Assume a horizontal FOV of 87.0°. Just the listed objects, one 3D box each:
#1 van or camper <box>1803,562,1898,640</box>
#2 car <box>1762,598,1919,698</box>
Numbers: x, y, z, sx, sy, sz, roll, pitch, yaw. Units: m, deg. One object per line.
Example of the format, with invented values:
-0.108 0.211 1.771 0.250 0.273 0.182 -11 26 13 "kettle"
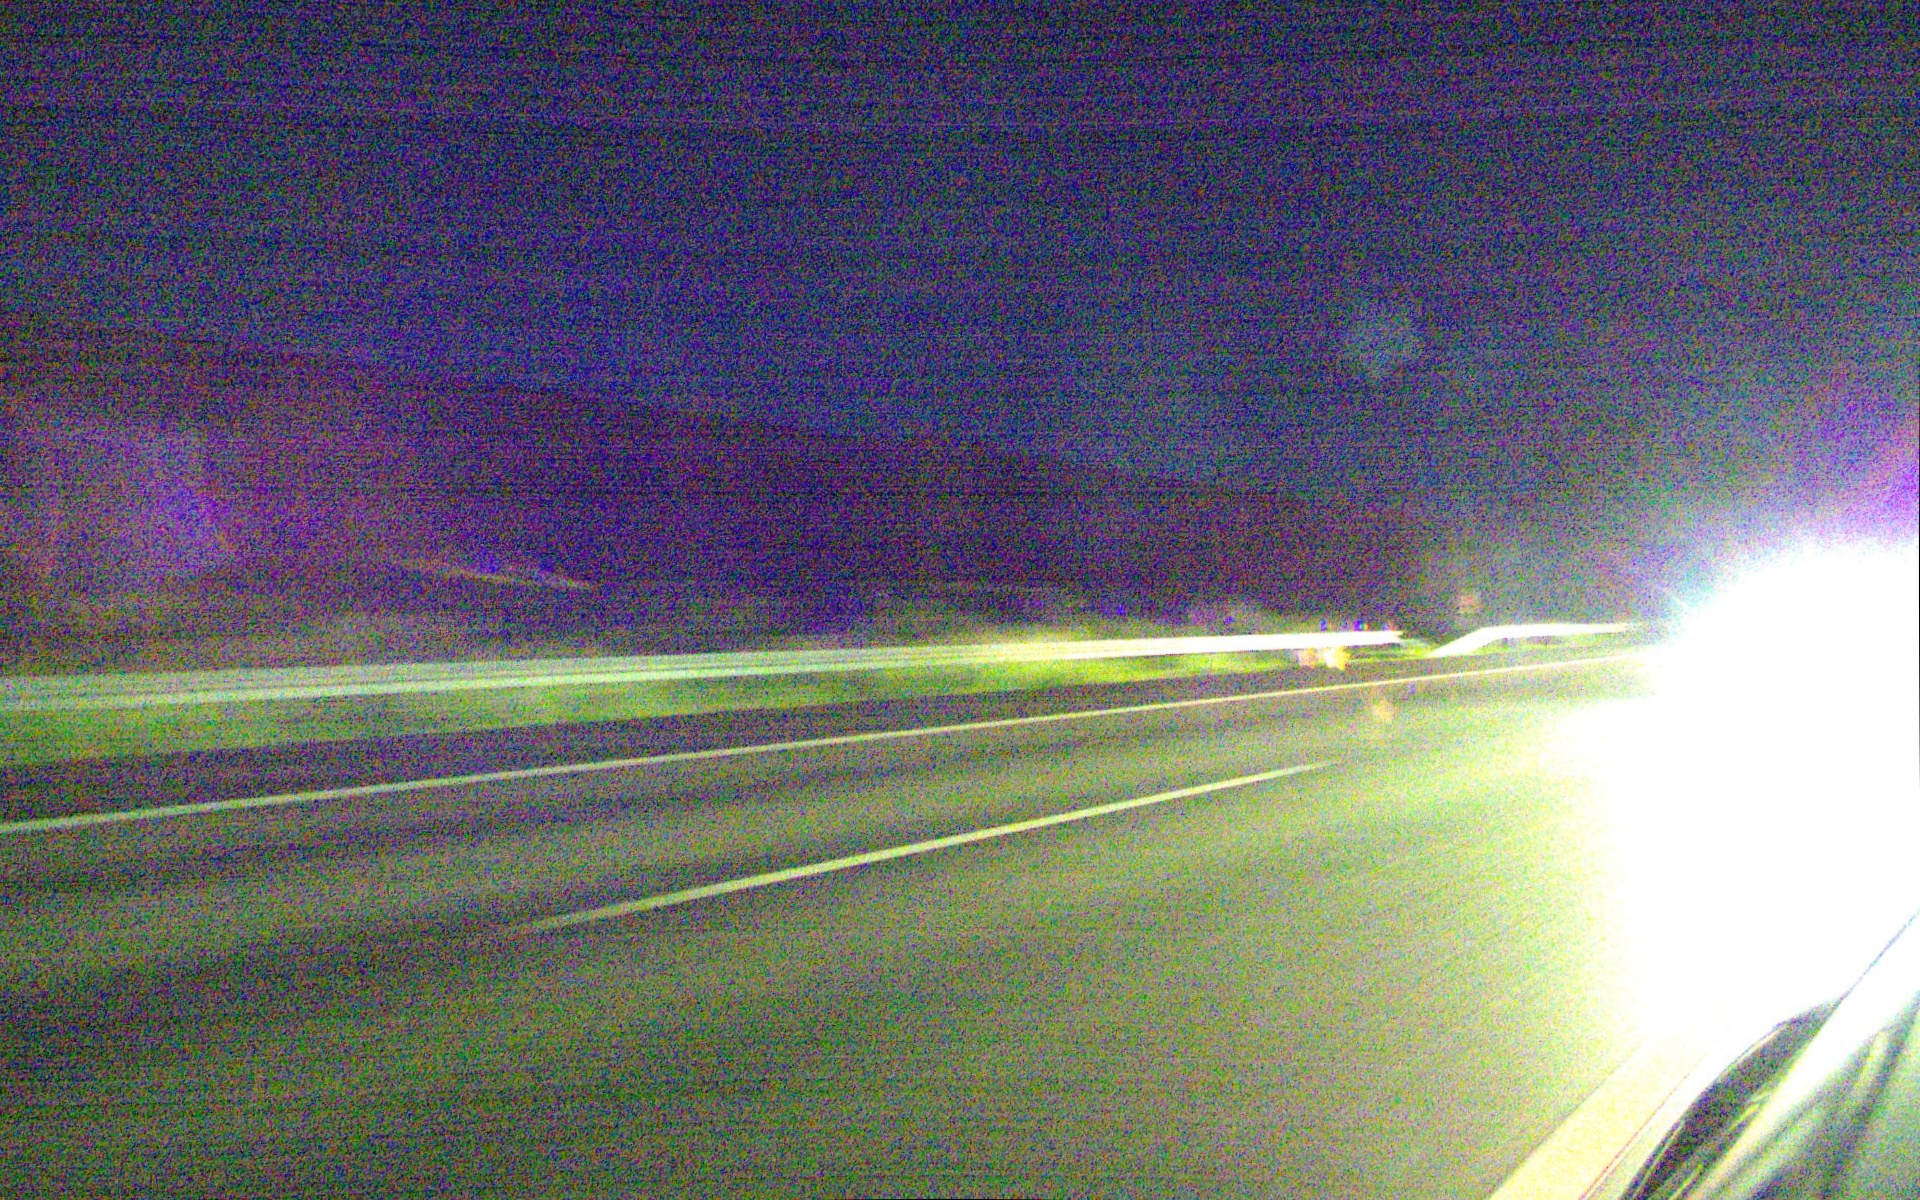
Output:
35.058 0.028 39.752 6.690 2.807 2.209 0 -1 -44 "van or camper"
14.685 0.724 16.604 4.151 1.431 1.689 1 -1 -41 "car"
